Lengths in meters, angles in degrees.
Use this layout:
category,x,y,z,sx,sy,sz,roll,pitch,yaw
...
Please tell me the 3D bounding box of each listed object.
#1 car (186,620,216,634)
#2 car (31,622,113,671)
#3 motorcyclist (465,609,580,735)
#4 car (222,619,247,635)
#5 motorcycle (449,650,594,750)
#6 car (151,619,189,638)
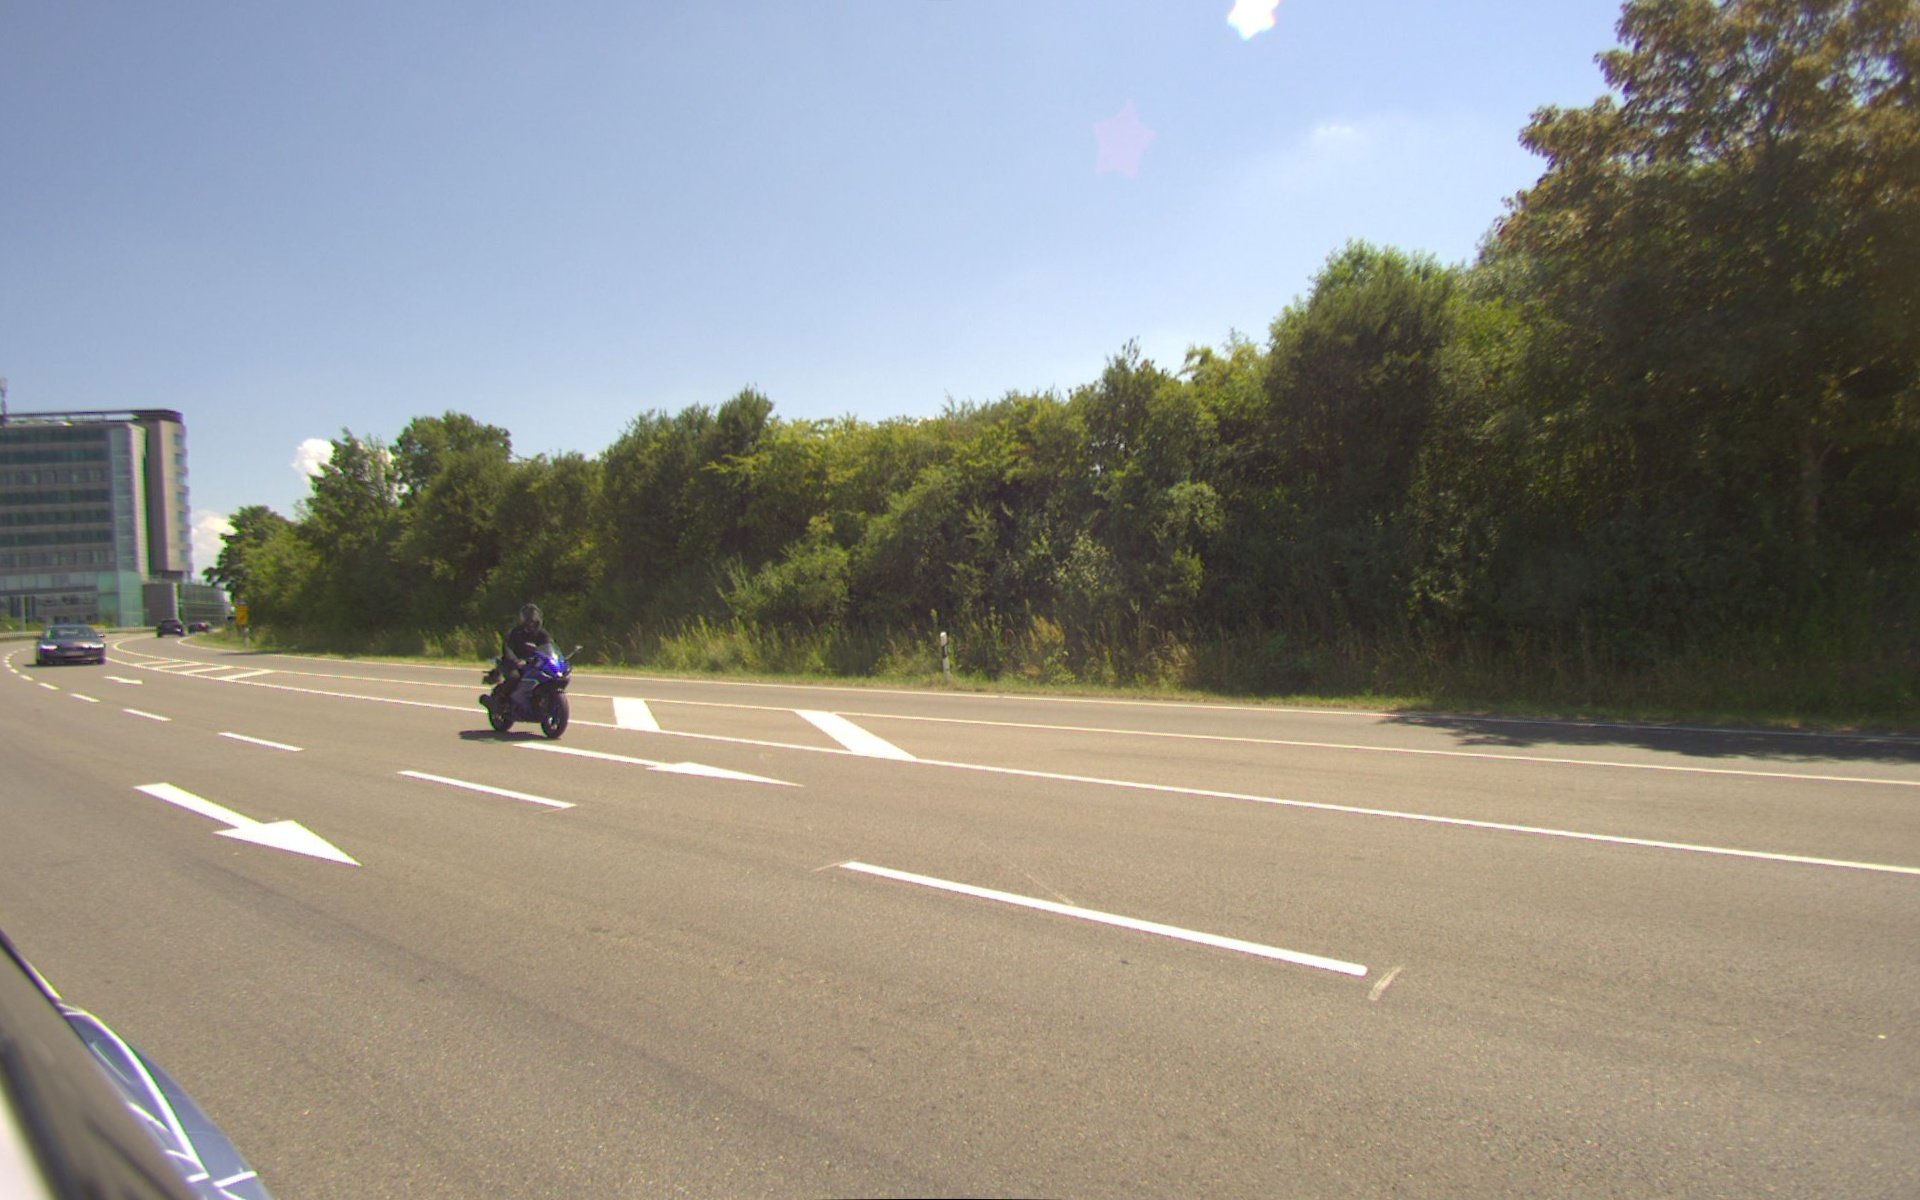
category,x,y,z,sx,sy,sz,roll,pitch,yaw
car,-80.974,2.897,107.972,1.791,1.453,4.658,0,-1,-27
car,-32.482,1.667,36.956,2.087,1.603,4.455,-2,0,-43
motorcyclist,-5.493,0.874,12.695,1.159,1.500,0.851,-2,-2,35
car,-94.122,3.476,131.420,1.965,1.909,5.120,-1,-1,-28
motorcycle,-5.538,1.214,12.737,2.068,1.147,0.726,-2,-2,36
car,-70.264,2.473,90.071,1.966,1.605,4.696,-1,-1,-29
